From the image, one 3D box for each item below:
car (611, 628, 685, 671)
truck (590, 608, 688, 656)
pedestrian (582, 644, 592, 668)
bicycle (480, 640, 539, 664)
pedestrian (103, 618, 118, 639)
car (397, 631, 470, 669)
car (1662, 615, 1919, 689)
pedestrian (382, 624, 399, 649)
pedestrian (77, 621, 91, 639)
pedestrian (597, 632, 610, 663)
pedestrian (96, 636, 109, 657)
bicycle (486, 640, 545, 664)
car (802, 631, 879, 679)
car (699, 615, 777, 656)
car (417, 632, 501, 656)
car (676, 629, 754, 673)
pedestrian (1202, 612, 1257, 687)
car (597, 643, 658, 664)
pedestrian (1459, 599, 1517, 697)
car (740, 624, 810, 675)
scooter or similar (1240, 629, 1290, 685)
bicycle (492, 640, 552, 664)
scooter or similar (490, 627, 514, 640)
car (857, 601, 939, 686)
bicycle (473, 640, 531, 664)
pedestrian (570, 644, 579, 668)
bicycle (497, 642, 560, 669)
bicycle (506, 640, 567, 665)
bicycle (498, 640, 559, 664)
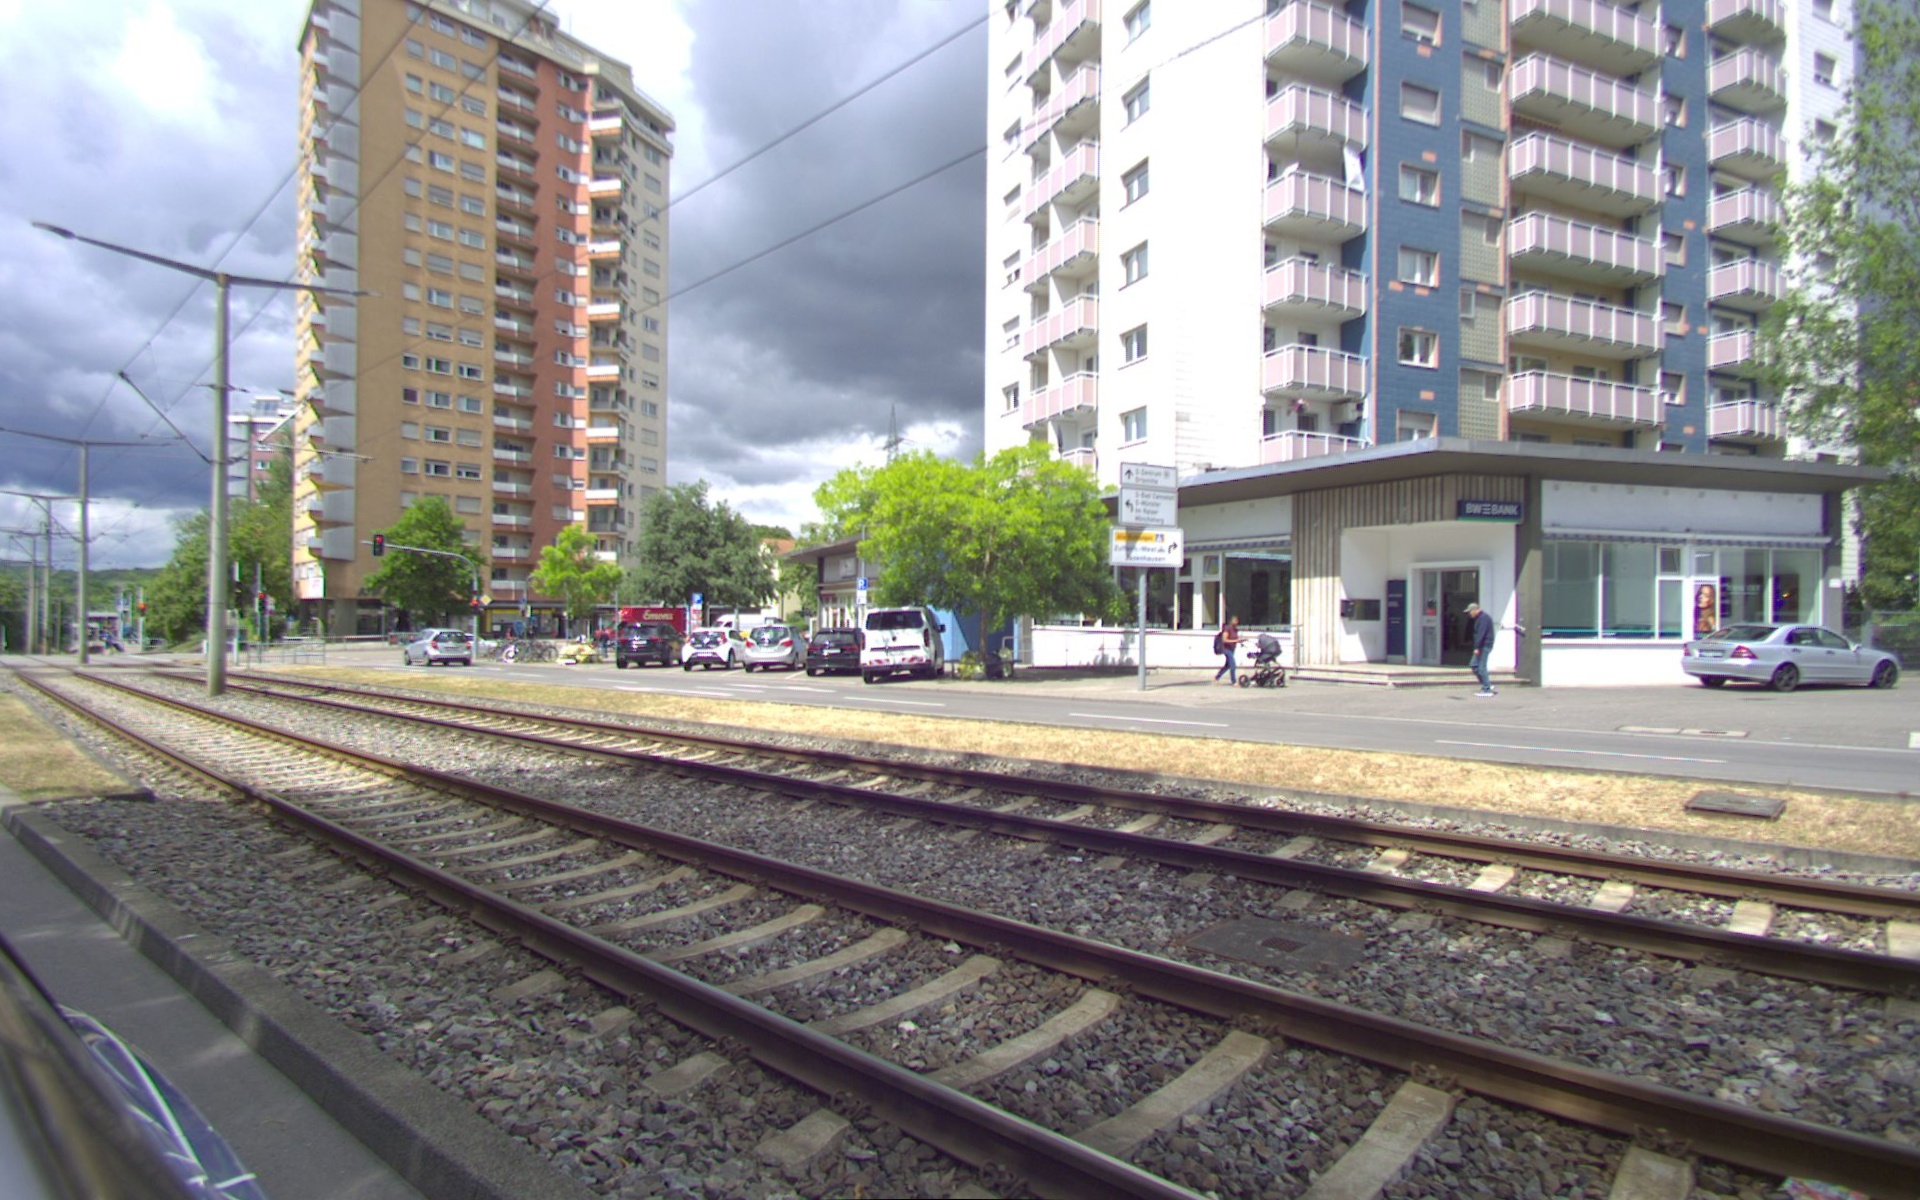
[{"bbox_3d":[-12.158,1.937,39.640,1.903,1.604,4.003,0,-3,-4],"label":"car"},{"bbox_3d":[-25.601,2.604,80.898,6.988,3.703,2.551,3,-4,-40],"label":"truck"},{"bbox_3d":[-23.281,3.480,63.190,0.562,1.483,0.528,1,-3,-20],"label":"pedestrian"},{"bbox_3d":[-20.896,2.405,46.967,0.705,1.074,2.400,-3,-4,44],"label":"bicycle"},{"bbox_3d":[-71.977,2.408,85.716,0.747,1.787,0.853,-3,-4,44],"label":"pedestrian"},{"bbox_3d":[-22.535,2.151,43.281,1.796,1.544,3.758,3,-4,-43],"label":"car"},{"bbox_3d":[17.425,1.094,21.216,4.284,1.454,2.004,1,-3,-11],"label":"car"},{"bbox_3d":[-43.849,2.810,77.873,0.853,1.949,0.908,-3,-4,44],"label":"pedestrian"},{"bbox_3d":[-79.669,2.754,92.052,0.747,1.618,0.853,-3,-4,44],"label":"pedestrian"},{"bbox_3d":[-19.275,2.561,54.669,0.600,1.656,0.412,-2,-4,41],"label":"pedestrian"},{"bbox_3d":[-76.917,4.176,90.775,0.573,1.946,0.760,-3,-4,43],"label":"pedestrian"},{"bbox_3d":[-20.356,2.378,46.376,0.705,1.074,2.400,-3,-4,44],"label":"bicycle"},{"bbox_3d":[-3.679,1.723,31.859,1.880,1.394,3.998,0,-3,1],"label":"car"},{"bbox_3d":[-18.839,3.058,86.073,6.203,3.324,2.004,2,-4,-38],"label":"car"},{"bbox_3d":[-30.767,2.713,62.243,1.794,1.462,4.217,-2,-4,41],"label":"car"},{"bbox_3d":[-8.801,1.854,36.660,1.724,1.508,3.762,0,-3,3],"label":"car"},{"bbox_3d":[5.884,1.064,22.105,0.507,1.583,0.988,-1,-1,-37],"label":"pedestrian"},{"bbox_3d":[-25.182,4.040,76.786,3.936,1.506,2.003,2,-4,-40],"label":"car"},{"bbox_3d":[10.065,0.914,19.327,0.868,1.806,0.837,-1,-3,23],"label":"pedestrian"},{"bbox_3d":[-6.346,1.717,35.051,1.878,1.644,4.002,0,-3,-3],"label":"car"},{"bbox_3d":[6.440,1.204,21.401,0.571,1.133,0.771,-2,-1,-37],"label":"scooter or similar"},{"bbox_3d":[-19.810,2.352,45.794,0.705,1.074,2.400,-3,-4,44],"label":"bicycle"},{"bbox_3d":[-38.690,2.849,85.488,0.545,1.102,1.729,-2,-4,40],"label":"scooter or similar"},{"bbox_3d":[-1.629,1.217,28.132,1.880,2.173,4.759,0,-3,1],"label":"car"},{"bbox_3d":[-21.475,2.428,47.495,0.705,1.074,2.400,-3,-4,44],"label":"bicycle"},{"bbox_3d":[-23.907,3.451,62.749,0.510,1.483,0.528,1,-3,-20],"label":"pedestrian"},{"bbox_3d":[-18.292,2.326,42.951,0.717,1.042,2.400,-3,-2,44],"label":"bicycle"},{"bbox_3d":[-18.712,2.305,44.732,0.705,1.074,2.400,-3,-4,44],"label":"bicycle"},{"bbox_3d":[-19.288,2.328,45.248,0.705,1.074,2.400,-3,-4,44],"label":"bicycle"}]
